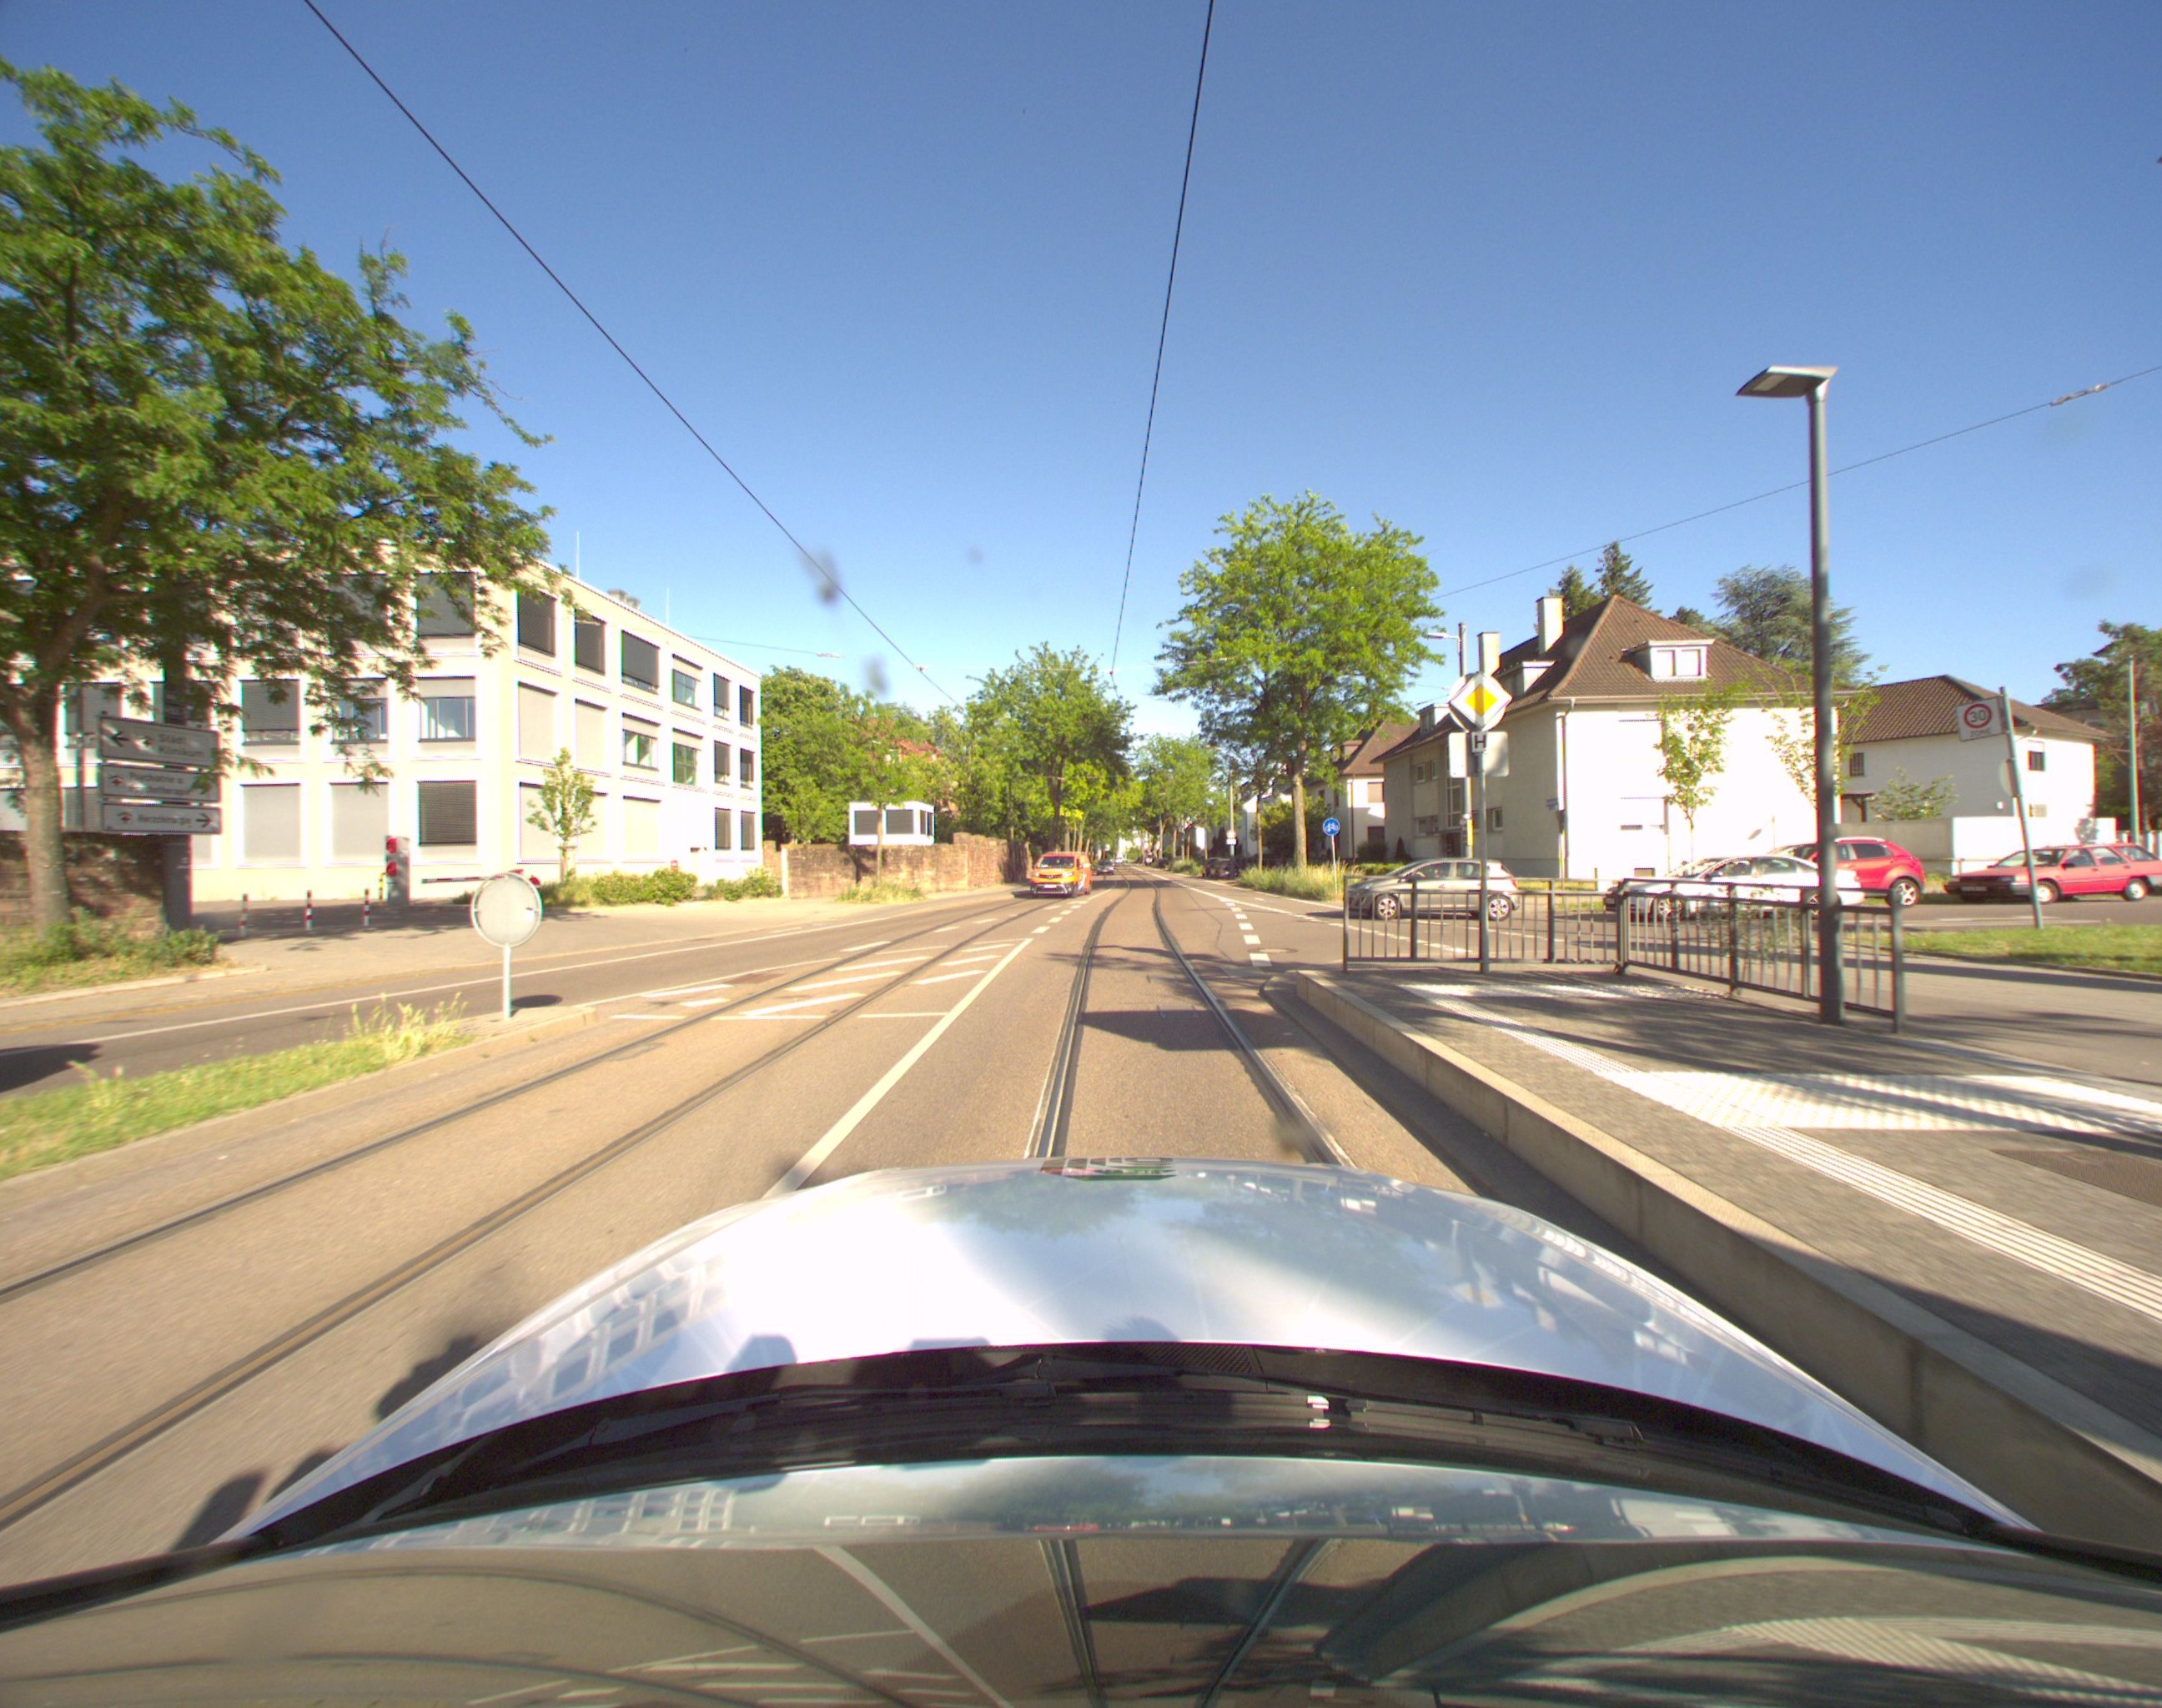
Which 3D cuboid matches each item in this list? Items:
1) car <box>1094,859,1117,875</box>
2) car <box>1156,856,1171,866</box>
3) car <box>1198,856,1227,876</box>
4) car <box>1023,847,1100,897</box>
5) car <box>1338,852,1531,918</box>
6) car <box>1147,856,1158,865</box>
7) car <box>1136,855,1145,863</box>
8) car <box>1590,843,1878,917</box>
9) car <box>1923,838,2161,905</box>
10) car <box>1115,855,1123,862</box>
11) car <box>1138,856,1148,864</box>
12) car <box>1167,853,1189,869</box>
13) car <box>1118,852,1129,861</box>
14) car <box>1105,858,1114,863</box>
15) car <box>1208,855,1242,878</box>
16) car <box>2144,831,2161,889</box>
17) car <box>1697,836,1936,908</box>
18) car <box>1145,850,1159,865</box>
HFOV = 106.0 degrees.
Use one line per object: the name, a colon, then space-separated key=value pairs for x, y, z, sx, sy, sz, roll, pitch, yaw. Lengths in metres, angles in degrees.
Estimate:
car: x=2.512 y=1.263 z=81.253 sx=1.984 sy=1.524 sz=4.586 roll=-1 pitch=0 yaw=5
car: x=12.483 y=1.050 z=123.712 sx=1.778 sy=1.448 sz=4.300 roll=-4 pitch=0 yaw=0
car: x=10.425 y=0.927 z=64.626 sx=1.742 sy=1.495 sz=3.998 roll=-2 pitch=0 yaw=2
car: x=-0.726 y=0.723 z=34.929 sx=1.979 sy=1.966 sz=4.953 roll=-1 pitch=0 yaw=14
car: x=8.440 y=0.729 z=19.815 sx=3.961 sy=1.508 sz=1.988 roll=-1 pitch=0 yaw=11
car: x=11.694 y=1.079 z=133.510 sx=1.621 sy=1.397 sz=3.646 roll=-4 pitch=0 yaw=1
car: x=14.906 y=1.264 z=204.506 sx=1.993 sy=1.675 sz=4.399 roll=-3 pitch=0 yaw=6
car: x=14.235 y=0.591 z=18.059 sx=4.574 sy=1.466 sz=1.987 roll=-1 pitch=-2 yaw=10
car: x=23.967 y=0.411 z=20.264 sx=4.154 sy=1.508 sz=1.979 roll=-1 pitch=0 yaw=-4
car: x=9.531 y=1.124 z=202.708 sx=1.857 sy=1.675 sz=4.178 roll=-2 pitch=0 yaw=5
car: x=14.154 y=1.322 z=187.000 sx=1.995 sy=1.675 sz=4.393 roll=-3 pitch=0 yaw=1
car: x=11.540 y=0.820 z=97.205 sx=1.987 sy=1.704 sz=4.478 roll=-4 pitch=0 yaw=1
car: x=12.239 y=0.685 z=233.338 sx=1.994 sy=2.458 sz=4.491 roll=-2 pitch=0 yaw=-11
car: x=9.136 y=1.981 z=258.561 sx=2.003 sy=1.560 sz=4.376 roll=-2 pitch=0 yaw=-11
car: x=10.377 y=0.874 z=58.787 sx=1.742 sy=1.495 sz=4.445 roll=-2 pitch=0 yaw=2
car: x=30.306 y=0.120 z=21.095 sx=4.171 sy=1.508 sz=1.971 roll=-1 pitch=0 yaw=-16
car: x=18.073 y=0.429 z=20.178 sx=4.149 sy=1.642 sz=1.982 roll=-1 pitch=0 yaw=0
car: x=13.459 y=0.651 z=154.863 sx=2.237 sy=2.654 sz=5.587 roll=-1 pitch=0 yaw=2
